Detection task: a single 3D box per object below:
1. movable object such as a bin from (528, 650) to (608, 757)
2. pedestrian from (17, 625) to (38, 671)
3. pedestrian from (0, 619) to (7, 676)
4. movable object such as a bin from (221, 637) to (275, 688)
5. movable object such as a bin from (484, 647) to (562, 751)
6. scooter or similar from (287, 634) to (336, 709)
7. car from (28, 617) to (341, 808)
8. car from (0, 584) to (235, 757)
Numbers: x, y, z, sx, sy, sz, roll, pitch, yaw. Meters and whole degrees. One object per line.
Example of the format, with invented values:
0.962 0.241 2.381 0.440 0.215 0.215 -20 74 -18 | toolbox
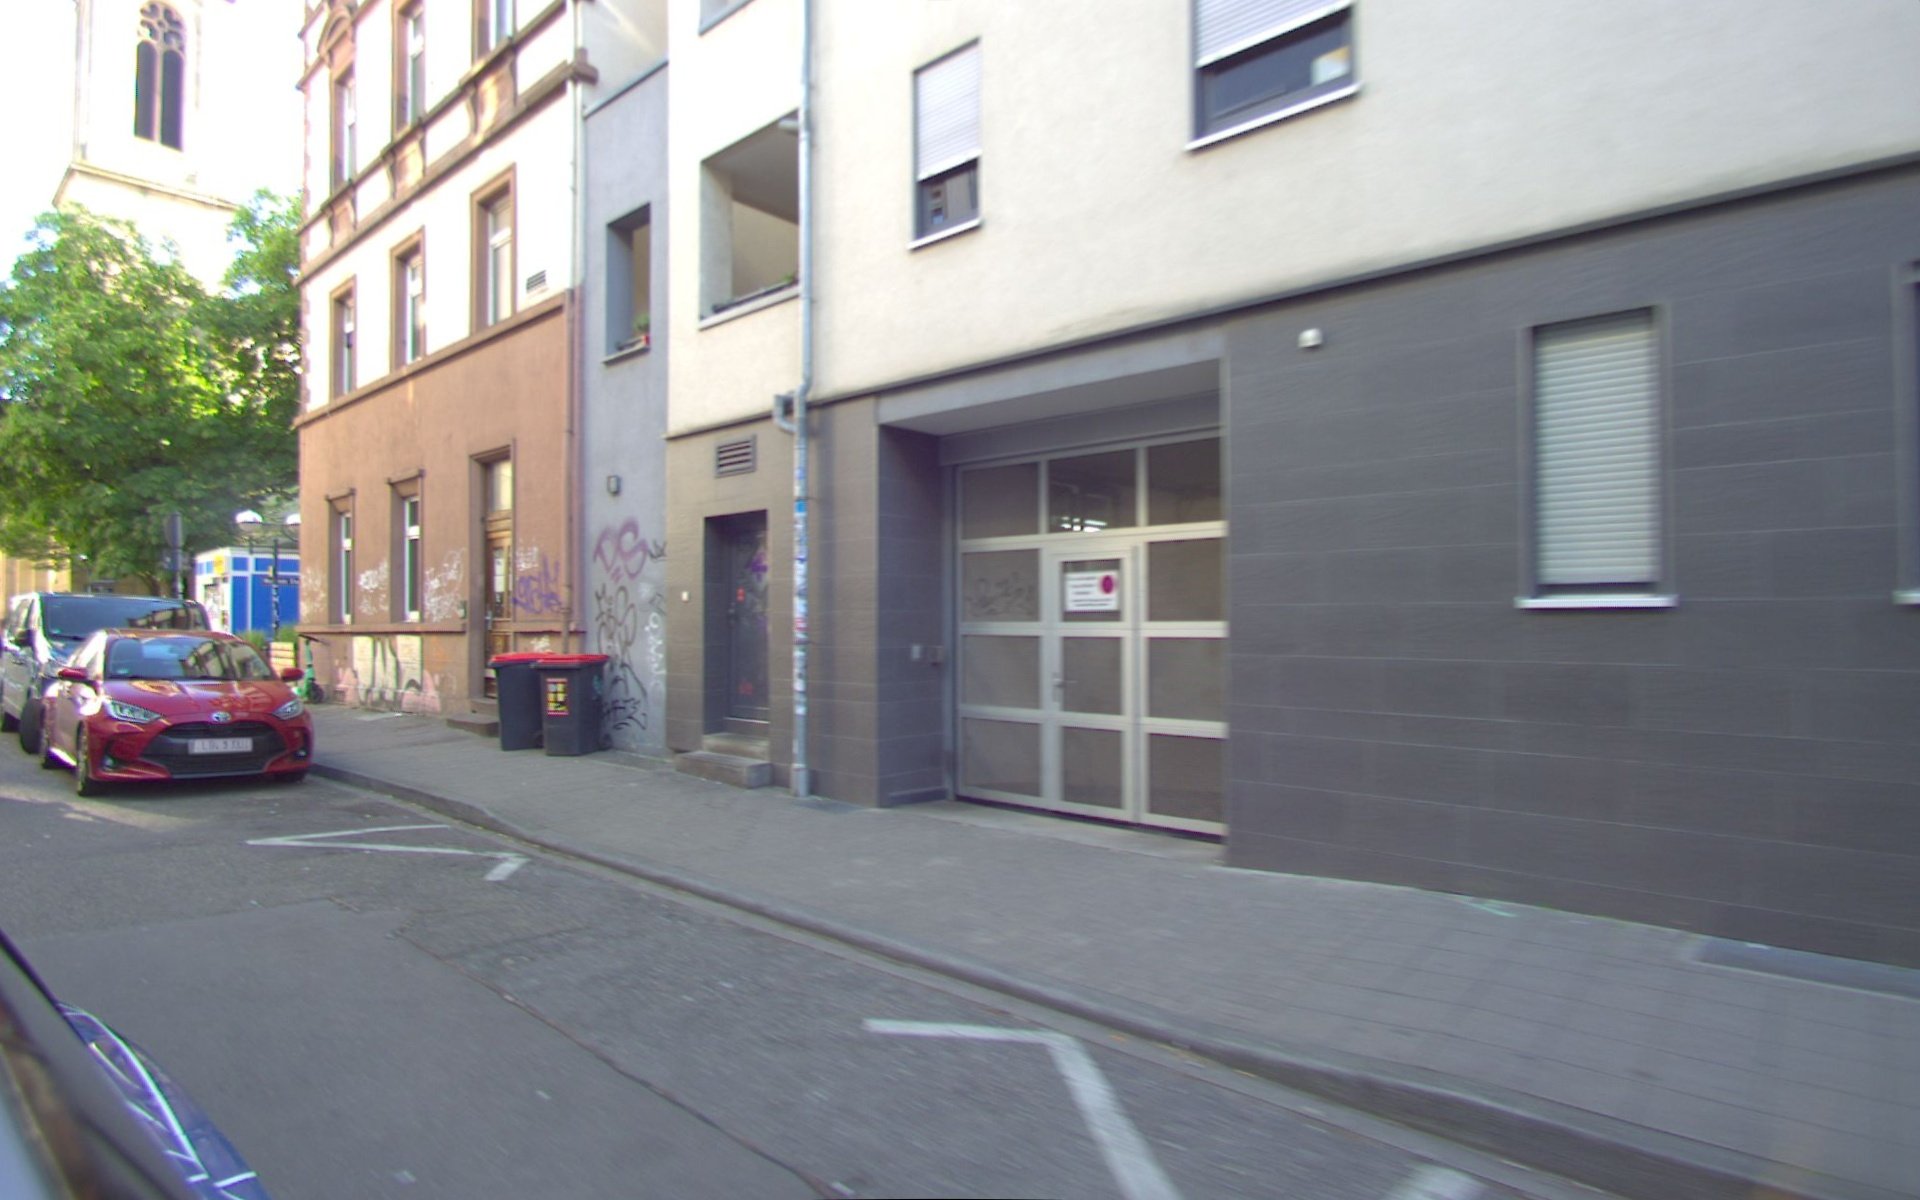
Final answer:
-4.199 1.091 10.871 0.501 1.075 0.728 -1 0 10 | movable object such as a bin
-33.734 1.726 36.607 0.714 1.605 0.474 -1 -1 39 | pedestrian
-32.200 1.565 33.630 0.720 1.887 0.709 -1 -1 41 | pedestrian
-16.208 1.410 23.041 0.774 1.094 0.860 -1 -1 42 | movable object such as a bin
-4.923 1.092 11.387 0.748 1.075 0.653 0 -1 -29 | movable object such as a bin
-11.144 1.200 17.379 1.391 1.226 0.344 -1 -1 41 | scooter or similar
-7.868 0.987 10.144 3.868 1.533 1.732 -1 -4 42 | car
-11.620 0.843 13.654 5.297 1.893 1.998 -2 -1 43 | car
